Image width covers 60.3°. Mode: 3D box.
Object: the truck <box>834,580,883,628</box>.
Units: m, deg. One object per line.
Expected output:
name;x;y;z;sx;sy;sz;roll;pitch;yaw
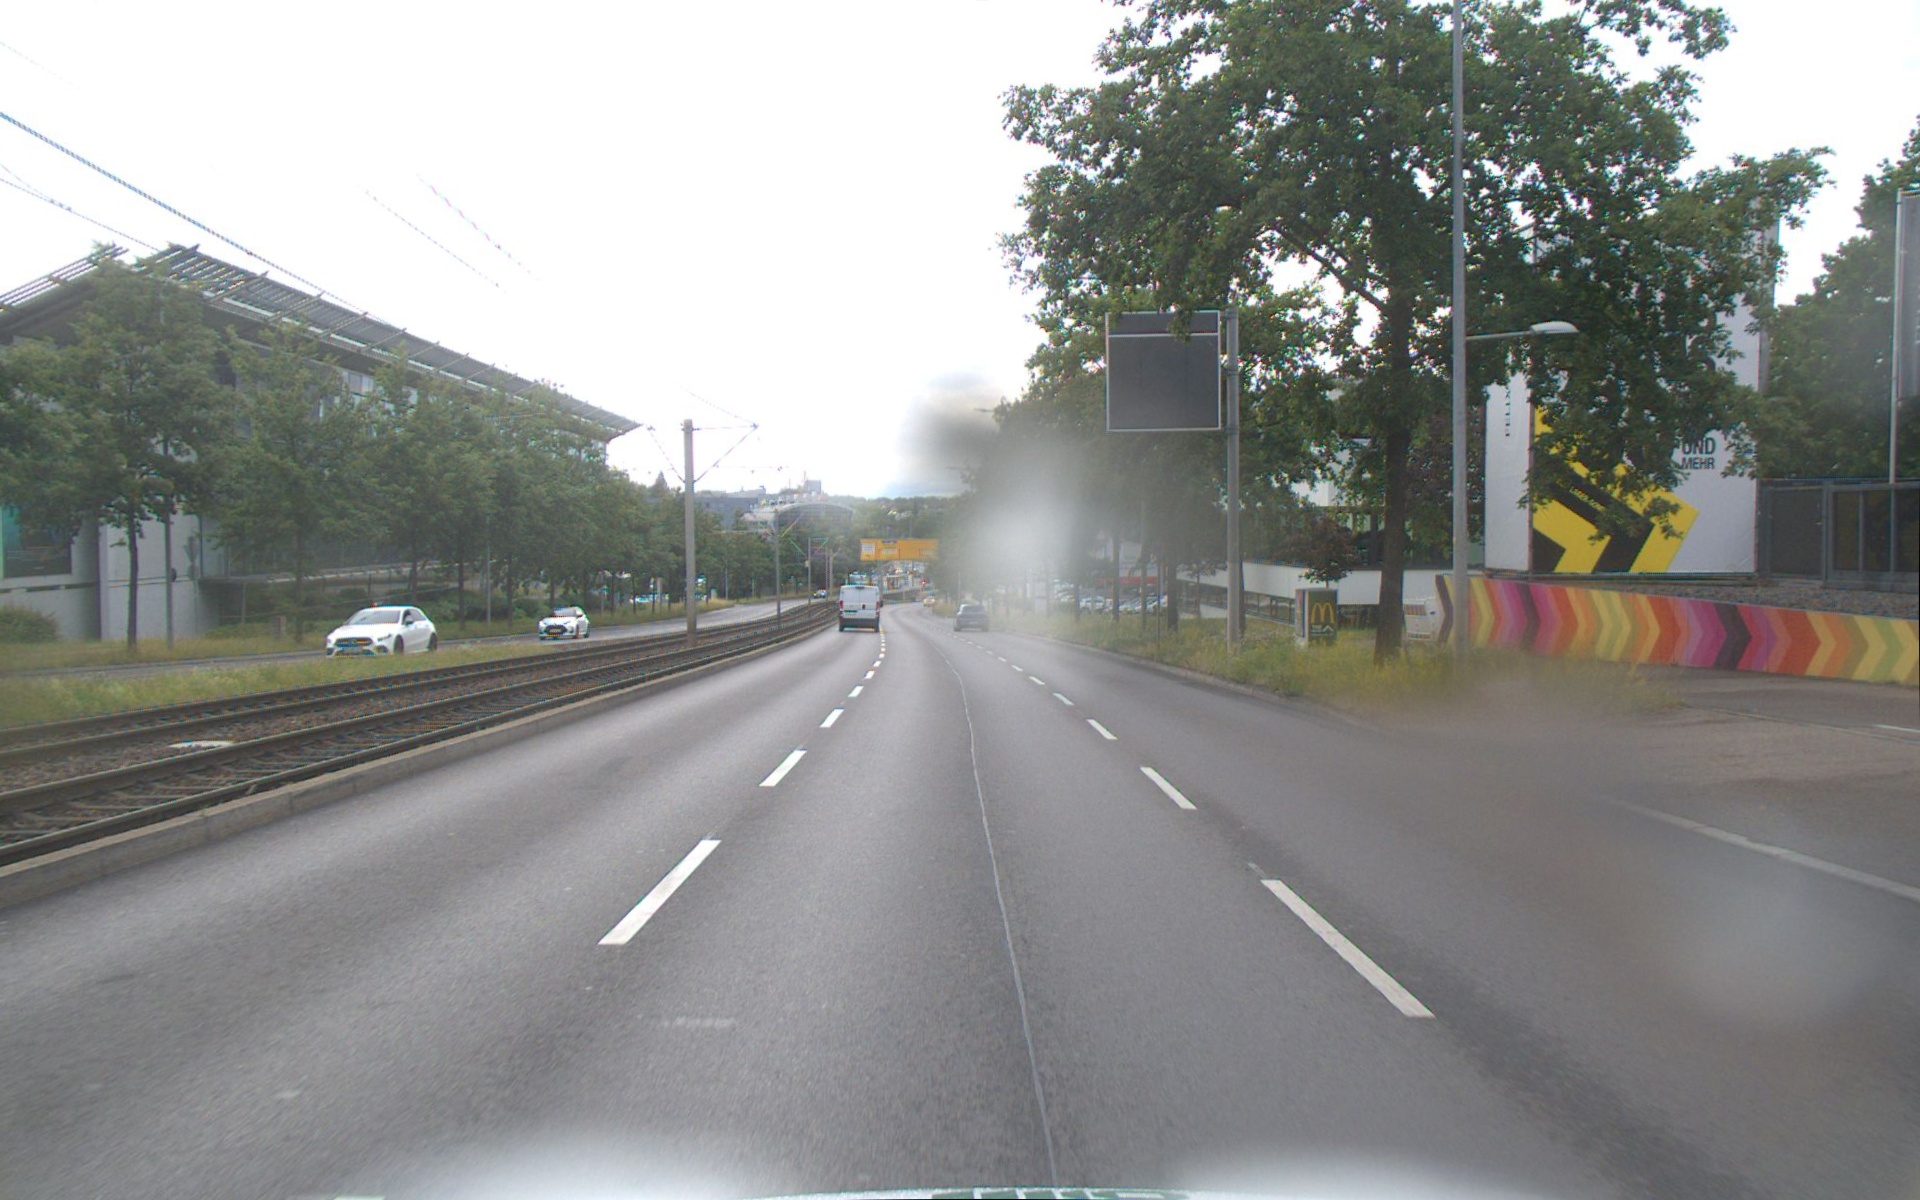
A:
truck;-5.075;0.201;83.236;2.313;2.301;5.302;1;0;-3

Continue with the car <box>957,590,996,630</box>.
car;0.861;0.547;88.686;1.953;2.049;3.933;1;0;-1

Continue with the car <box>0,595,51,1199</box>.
car;-2.777;0.740;1.031;1.753;1.459;4.828;0;1;0

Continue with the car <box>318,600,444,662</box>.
car;-15.369;0.784;44.151;1.800;1.469;4.428;-2;0;-1

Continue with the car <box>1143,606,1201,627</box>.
car;14.966;1.158;117.030;3.904;1.378;2.000;1;0;2

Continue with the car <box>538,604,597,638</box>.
car;-18.297;0.964;77.270;1.842;1.473;4.137;-1;0;-1
